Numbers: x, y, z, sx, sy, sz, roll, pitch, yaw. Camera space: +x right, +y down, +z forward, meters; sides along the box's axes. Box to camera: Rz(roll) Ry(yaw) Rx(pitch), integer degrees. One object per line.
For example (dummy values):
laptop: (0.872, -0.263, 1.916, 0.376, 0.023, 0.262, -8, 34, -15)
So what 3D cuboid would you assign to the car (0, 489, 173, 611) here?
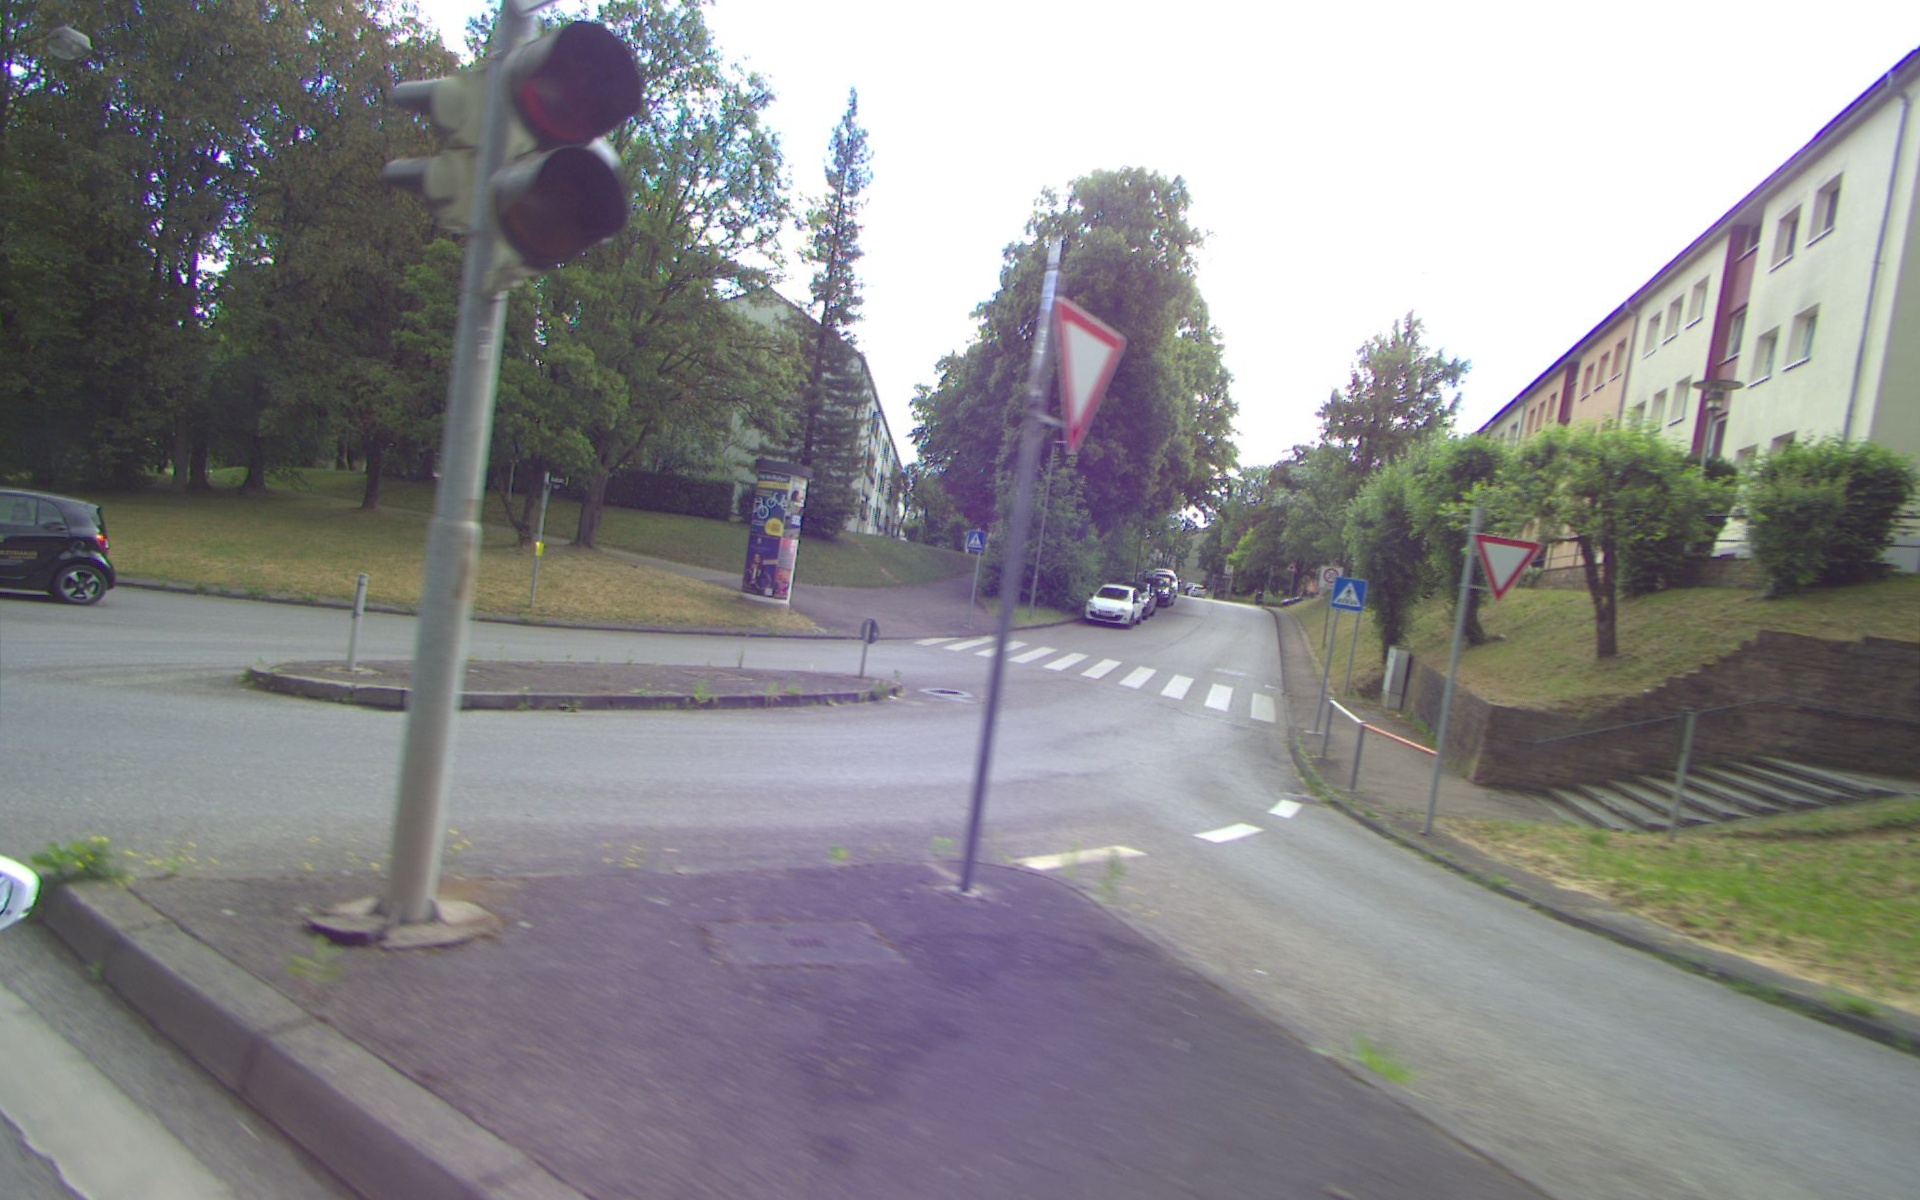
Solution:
car: (-13.676, -0.815, 14.506, 1.643, 1.513, 3.302, 7, -1, 39)
